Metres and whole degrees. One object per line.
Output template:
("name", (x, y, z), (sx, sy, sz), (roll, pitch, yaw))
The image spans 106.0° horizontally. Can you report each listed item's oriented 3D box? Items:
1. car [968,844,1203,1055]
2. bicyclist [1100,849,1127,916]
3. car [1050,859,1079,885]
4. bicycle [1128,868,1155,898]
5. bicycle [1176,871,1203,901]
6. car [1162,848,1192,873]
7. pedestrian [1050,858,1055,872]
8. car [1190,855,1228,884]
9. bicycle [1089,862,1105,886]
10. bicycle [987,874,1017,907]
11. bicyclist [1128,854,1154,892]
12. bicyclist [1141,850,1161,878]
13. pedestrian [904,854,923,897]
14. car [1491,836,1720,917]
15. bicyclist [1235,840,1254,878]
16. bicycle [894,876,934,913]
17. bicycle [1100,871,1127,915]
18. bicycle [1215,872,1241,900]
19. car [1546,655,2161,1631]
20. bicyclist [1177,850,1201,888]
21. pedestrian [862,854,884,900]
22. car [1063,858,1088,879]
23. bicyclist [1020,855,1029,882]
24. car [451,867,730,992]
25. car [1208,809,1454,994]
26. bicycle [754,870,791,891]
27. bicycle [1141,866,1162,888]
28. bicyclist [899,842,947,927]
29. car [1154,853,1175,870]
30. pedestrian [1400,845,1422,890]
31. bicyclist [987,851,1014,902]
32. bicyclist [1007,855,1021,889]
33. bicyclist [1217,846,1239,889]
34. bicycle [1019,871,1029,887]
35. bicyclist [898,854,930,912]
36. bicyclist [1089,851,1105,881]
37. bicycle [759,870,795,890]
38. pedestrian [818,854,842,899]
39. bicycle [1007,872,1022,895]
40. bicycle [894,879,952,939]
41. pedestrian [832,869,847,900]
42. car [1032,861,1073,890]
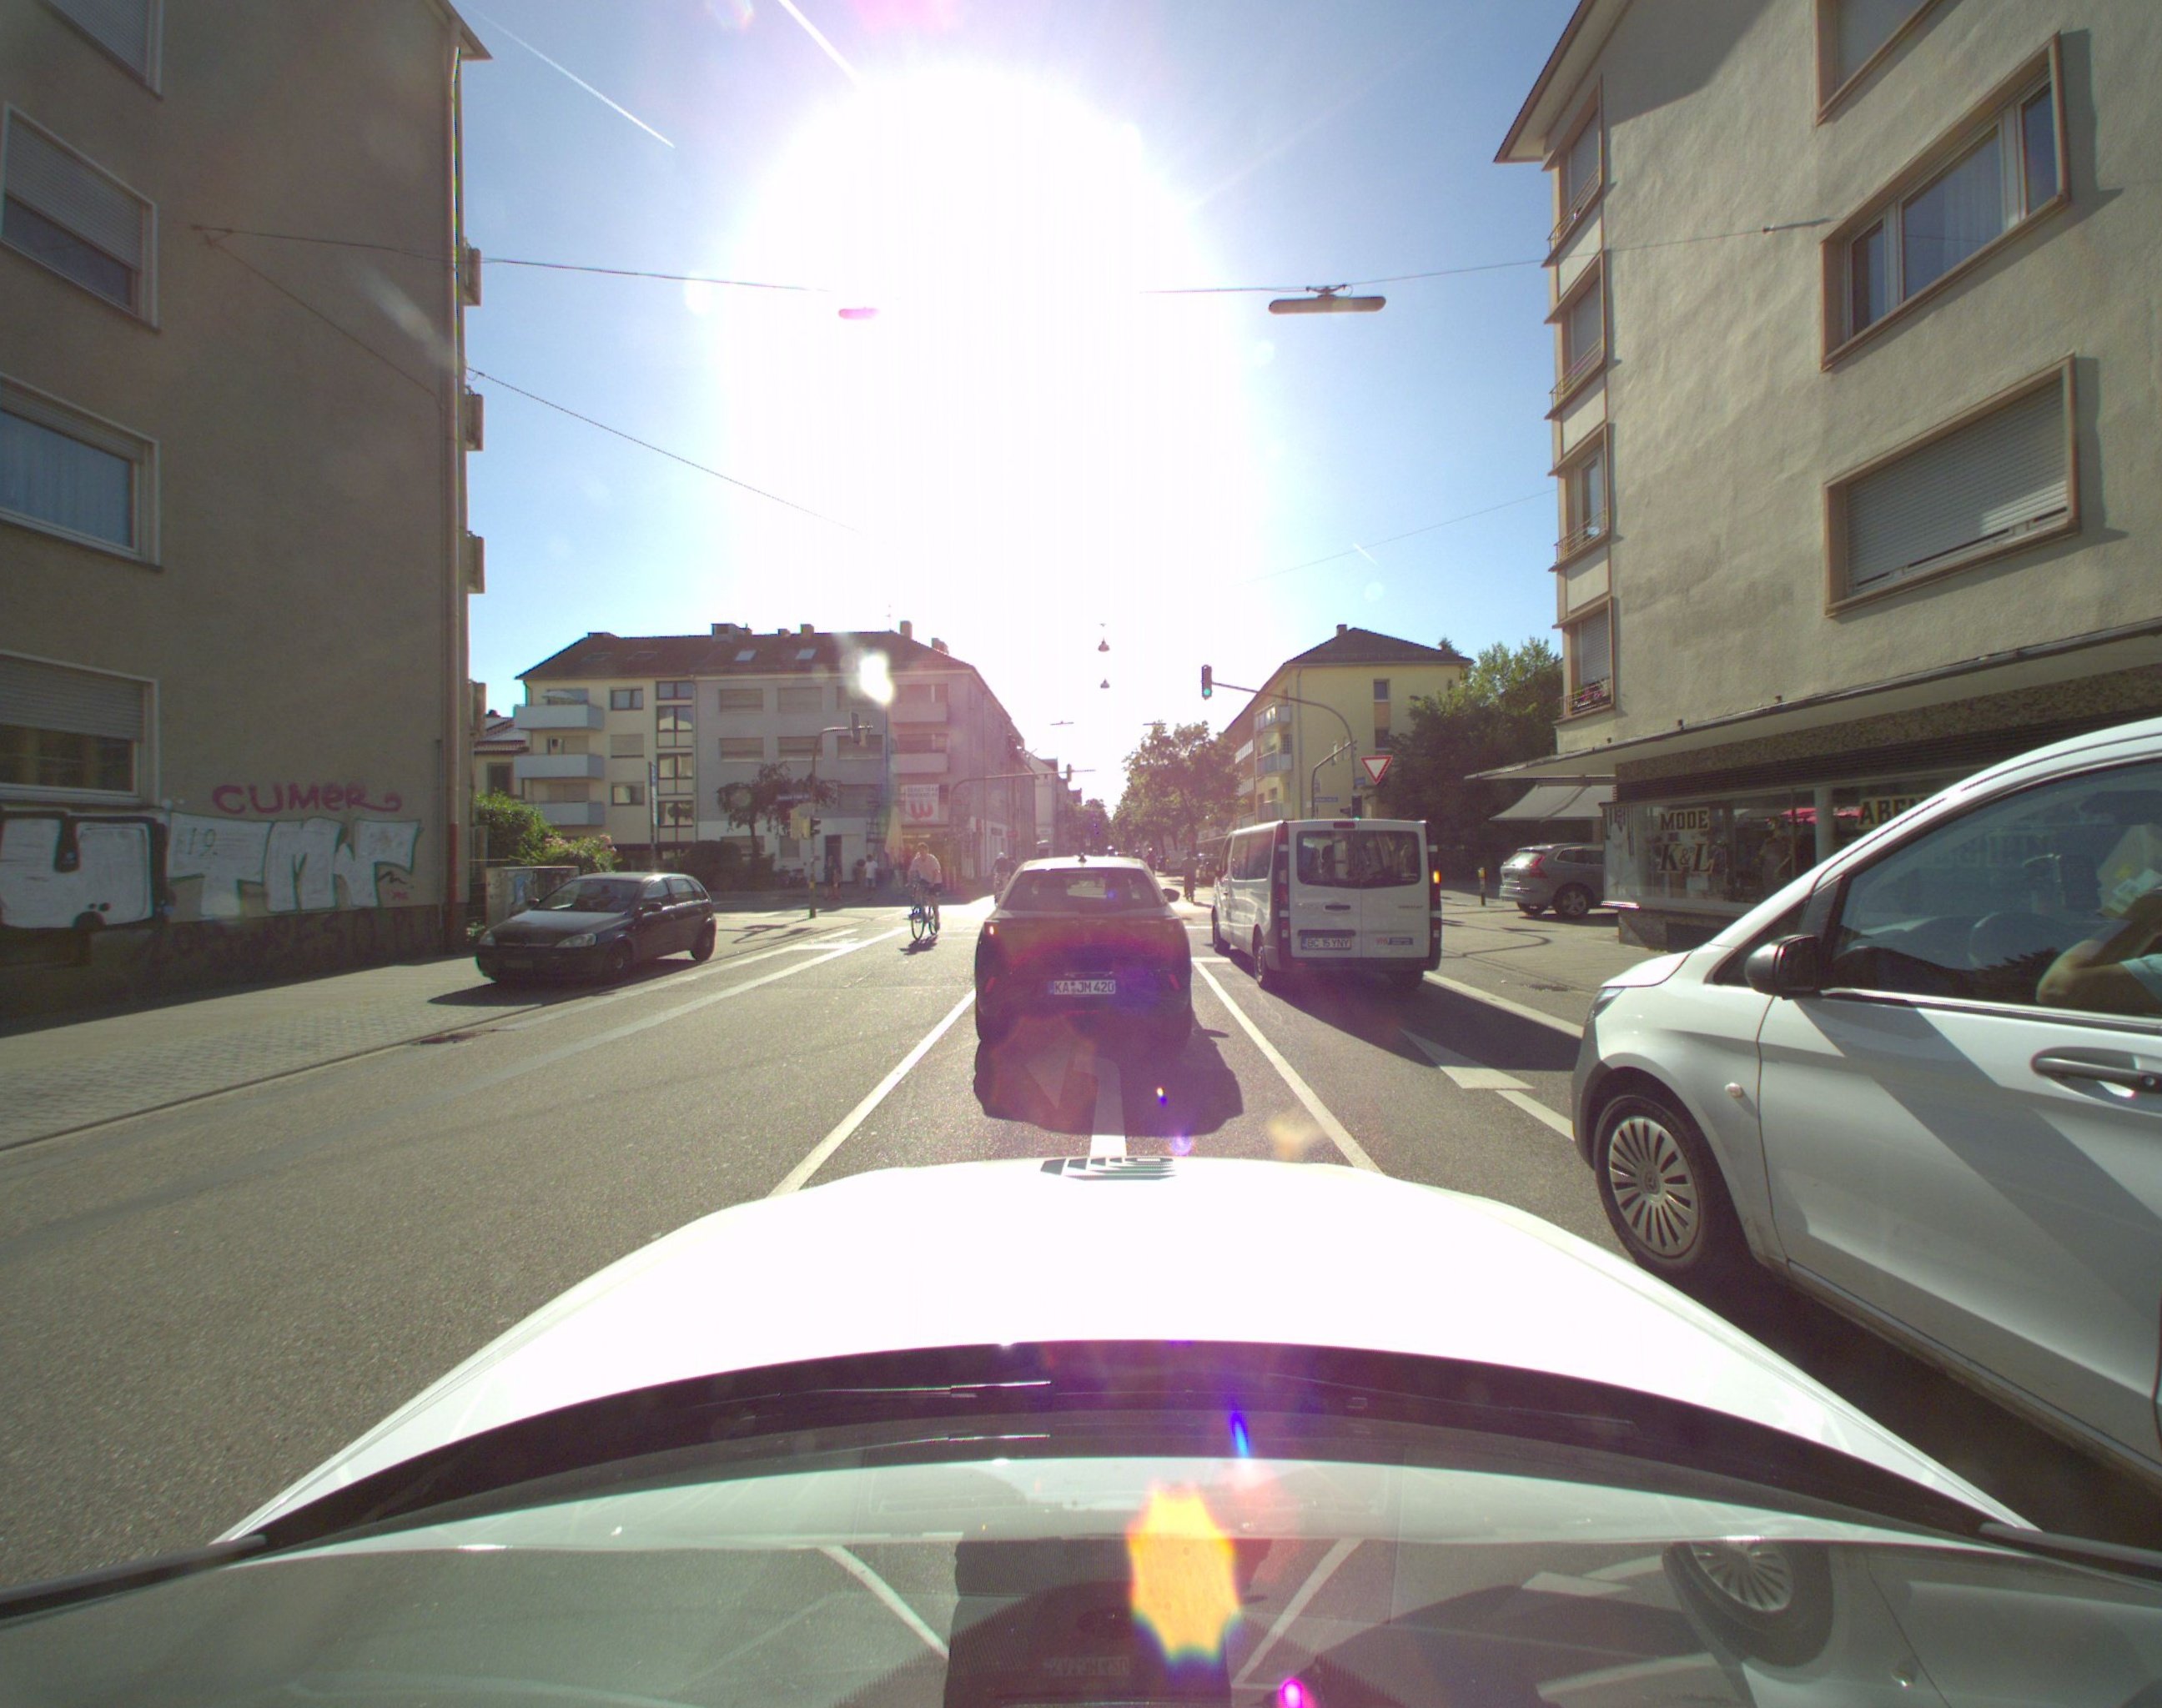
("car", (0.094, 0.737, 8.155), (1.756, 1.558, 4.001), (-1, -1, 2))
("bicyclist", (0.820, 0.720, 20.937), (0.630, 1.669, 1.051), (-2, 0, 2))
("car", (-1.043, 1.135, 52.528), (1.586, 1.566, 4.091), (-2, -1, 2))
("bicycle", (2.097, 1.002, 28.532), (0.853, 0.945, 2.308), (1, 0, 2))
("bicycle", (3.469, 1.019, 26.181), (0.688, 0.866, 1.878), (-1, 0, 3))
("car", (7.610, 0.515, 64.691), (2.037, 1.846, 4.588), (-1, 0, 3))
("pedestrian", (-3.244, 1.205, 93.124), (0.575, 1.583, 0.707), (-1, 0, -4))
("car", (7.174, 0.844, 45.793), (1.706, 1.483, 3.482), (-1, 0, 2))
("bicycle", (0.897, 1.095, 45.313), (0.798, 1.255, 2.140), (-1, 0, 2))
("bicycle", (-2.513, 1.141, 26.197), (0.677, 0.952, 1.934), (-3, 0, 2))
("bicyclist", (2.098, 0.655, 28.574), (0.853, 1.314, 1.211), (1, 0, 1))
("bicyclist", (3.347, 0.471, 38.812), (0.853, 1.314, 1.211), (1, 0, 1))
("pedestrian", (-6.189, 0.782, 30.101), (0.528, 1.581, 0.564), (-1, 0, 6))
("car", (11.686, 0.478, 18.351), (3.972, 1.662, 1.826), (-1, 0, 2))
("bicyclist", (6.033, 0.170, 30.075), (0.544, 1.382, 0.823), (-1, 0, 3))
("bicycle", (-4.884, 1.177, 23.891), (0.677, 0.952, 1.934), (-3, 0, 2))
("bicycle", (0.832, 0.978, 20.916), (0.630, 1.041, 1.796), (-2, 0, 2))
("bicycle", (4.866, 1.049, 27.045), (0.617, 0.866, 1.878), (-1, 0, 3))
("car", (2.971, 0.519, 1.085), (1.961, 1.810, 4.833), (-1, -1, 1))
("bicyclist", (3.466, 0.485, 26.191), (0.689, 1.193, 0.595), (-1, 0, 3))
("pedestrian", (-7.767, 0.840, 30.449), (0.570, 1.689, 0.670), (-1, 0, 3))
("car", (-0.427, 1.091, 62.068), (1.799, 1.413, 4.424), (-3, 0, 0))
("bicyclist", (-3.322, 0.855, 47.901), (0.552, 1.549, 0.813), (0, -1, -4))
("car", (-6.842, 0.953, 11.919), (1.685, 1.448, 3.856), (1, 0, 0))
("car", (3.028, 0.514, 11.131), (1.961, 1.940, 5.057), (0, 0, 2))
("bicycle", (-15.086, 1.287, 39.797), (1.582, 0.940, 0.513), (-1, 0, 3))
("bicycle", (3.329, 1.067, 38.715), (0.853, 0.945, 2.308), (1, 0, 2))
("bicyclist", (-3.125, 0.600, 16.170), (0.714, 1.620, 0.946), (-2, -1, 2))
("car", (7.889, 0.704, 76.888), (1.706, 1.483, 3.383), (-1, 0, 2))
("pedestrian", (11.848, 0.488, 29.238), (0.537, 1.571, 0.539), (-1, 0, 1))
("bicyclist", (-2.546, 0.705, 25.943), (0.677, 1.576, 0.899), (-3, 0, 2))
("bicyclist", (-2.777, 0.726, 33.547), (0.542, 1.391, 0.787), (-1, 0, -6))
("bicyclist", (4.842, 0.453, 26.873), (0.586, 1.382, 0.823), (-1, 0, 3))
("bicycle", (-3.315, 1.449, 47.712), (0.552, 0.833, 2.129), (0, 0, -3))
("bicyclist", (-4.905, 0.838, 23.957), (0.677, 1.630, 0.899), (-3, 0, 2))
("bicyclist", (0.877, 0.659, 45.060), (0.798, 1.649, 1.126), (-1, 0, 2))
("bicycle", (-15.117, 1.294, 40.453), (1.582, 0.940, 0.513), (-1, 0, 3))
("pedestrian", (-9.592, 0.866, 31.133), (0.571, 1.683, 0.969), (-1, 0, 1))
("bicycle", (-2.750, 1.196, 33.373), (0.542, 0.902, 1.822), (-1, 0, -6))
("bicycle", (-3.108, 1.063, 16.211), (0.714, 1.064, 1.873), (-2, -1, 2))
("pedestrian", (-9.108, 1.133, 30.736), (0.384, 1.146, 0.532), (-1, 0, 0))
("car", (-1.475, 1.102, 43.563), (1.830, 1.433, 4.179), (-1, 0, 2))
